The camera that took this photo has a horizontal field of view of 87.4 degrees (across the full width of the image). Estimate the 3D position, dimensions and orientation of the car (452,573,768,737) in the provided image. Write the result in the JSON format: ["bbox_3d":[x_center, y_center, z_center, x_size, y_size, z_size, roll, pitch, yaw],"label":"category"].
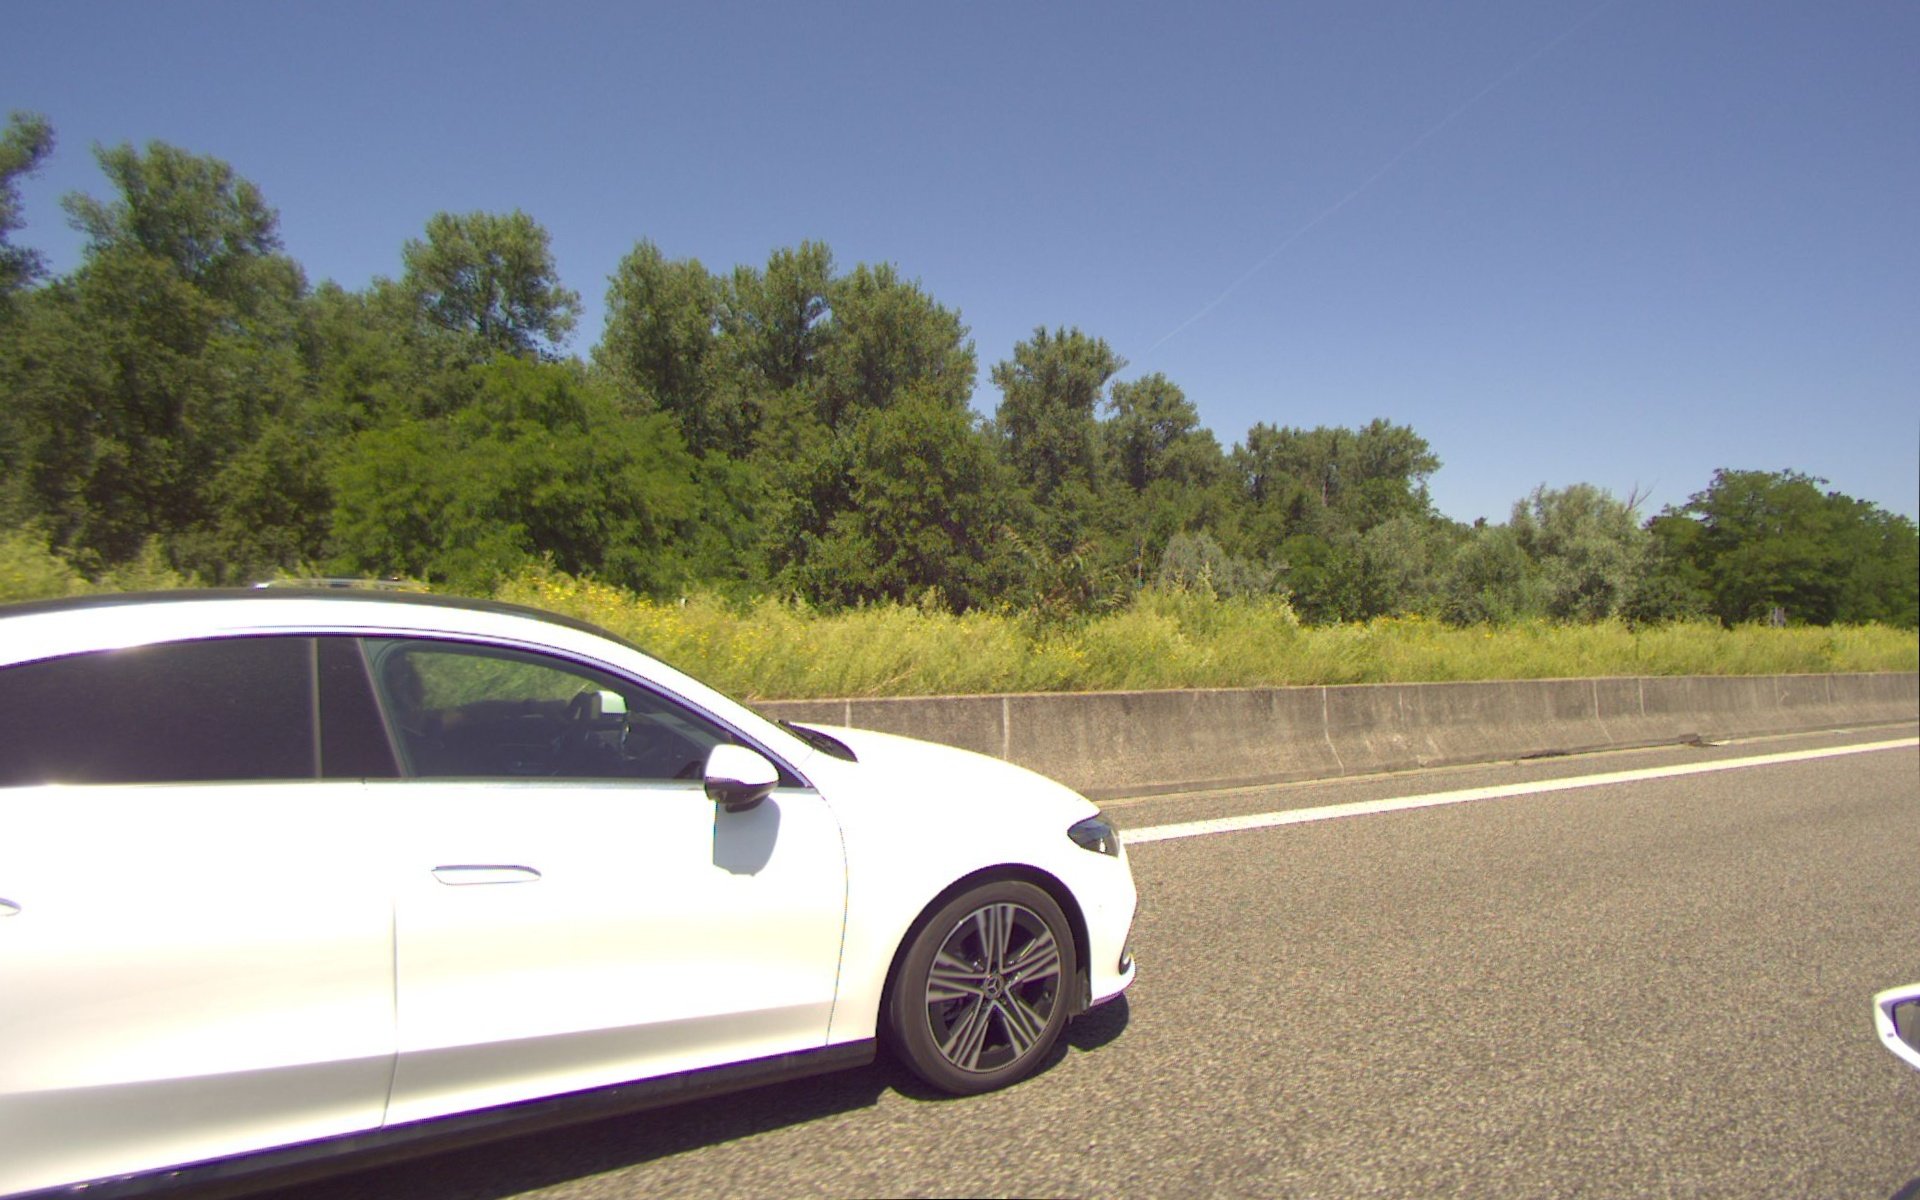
[{"bbox_3d":[-4.982,0.726,14.376,3.953,2.040,1.984,2,0,-30],"label":"car"}]

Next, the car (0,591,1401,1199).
[{"bbox_3d":[-0.937,0.738,3.371,5.046,1.468,1.759,0,1,-30],"label":"car"}]
